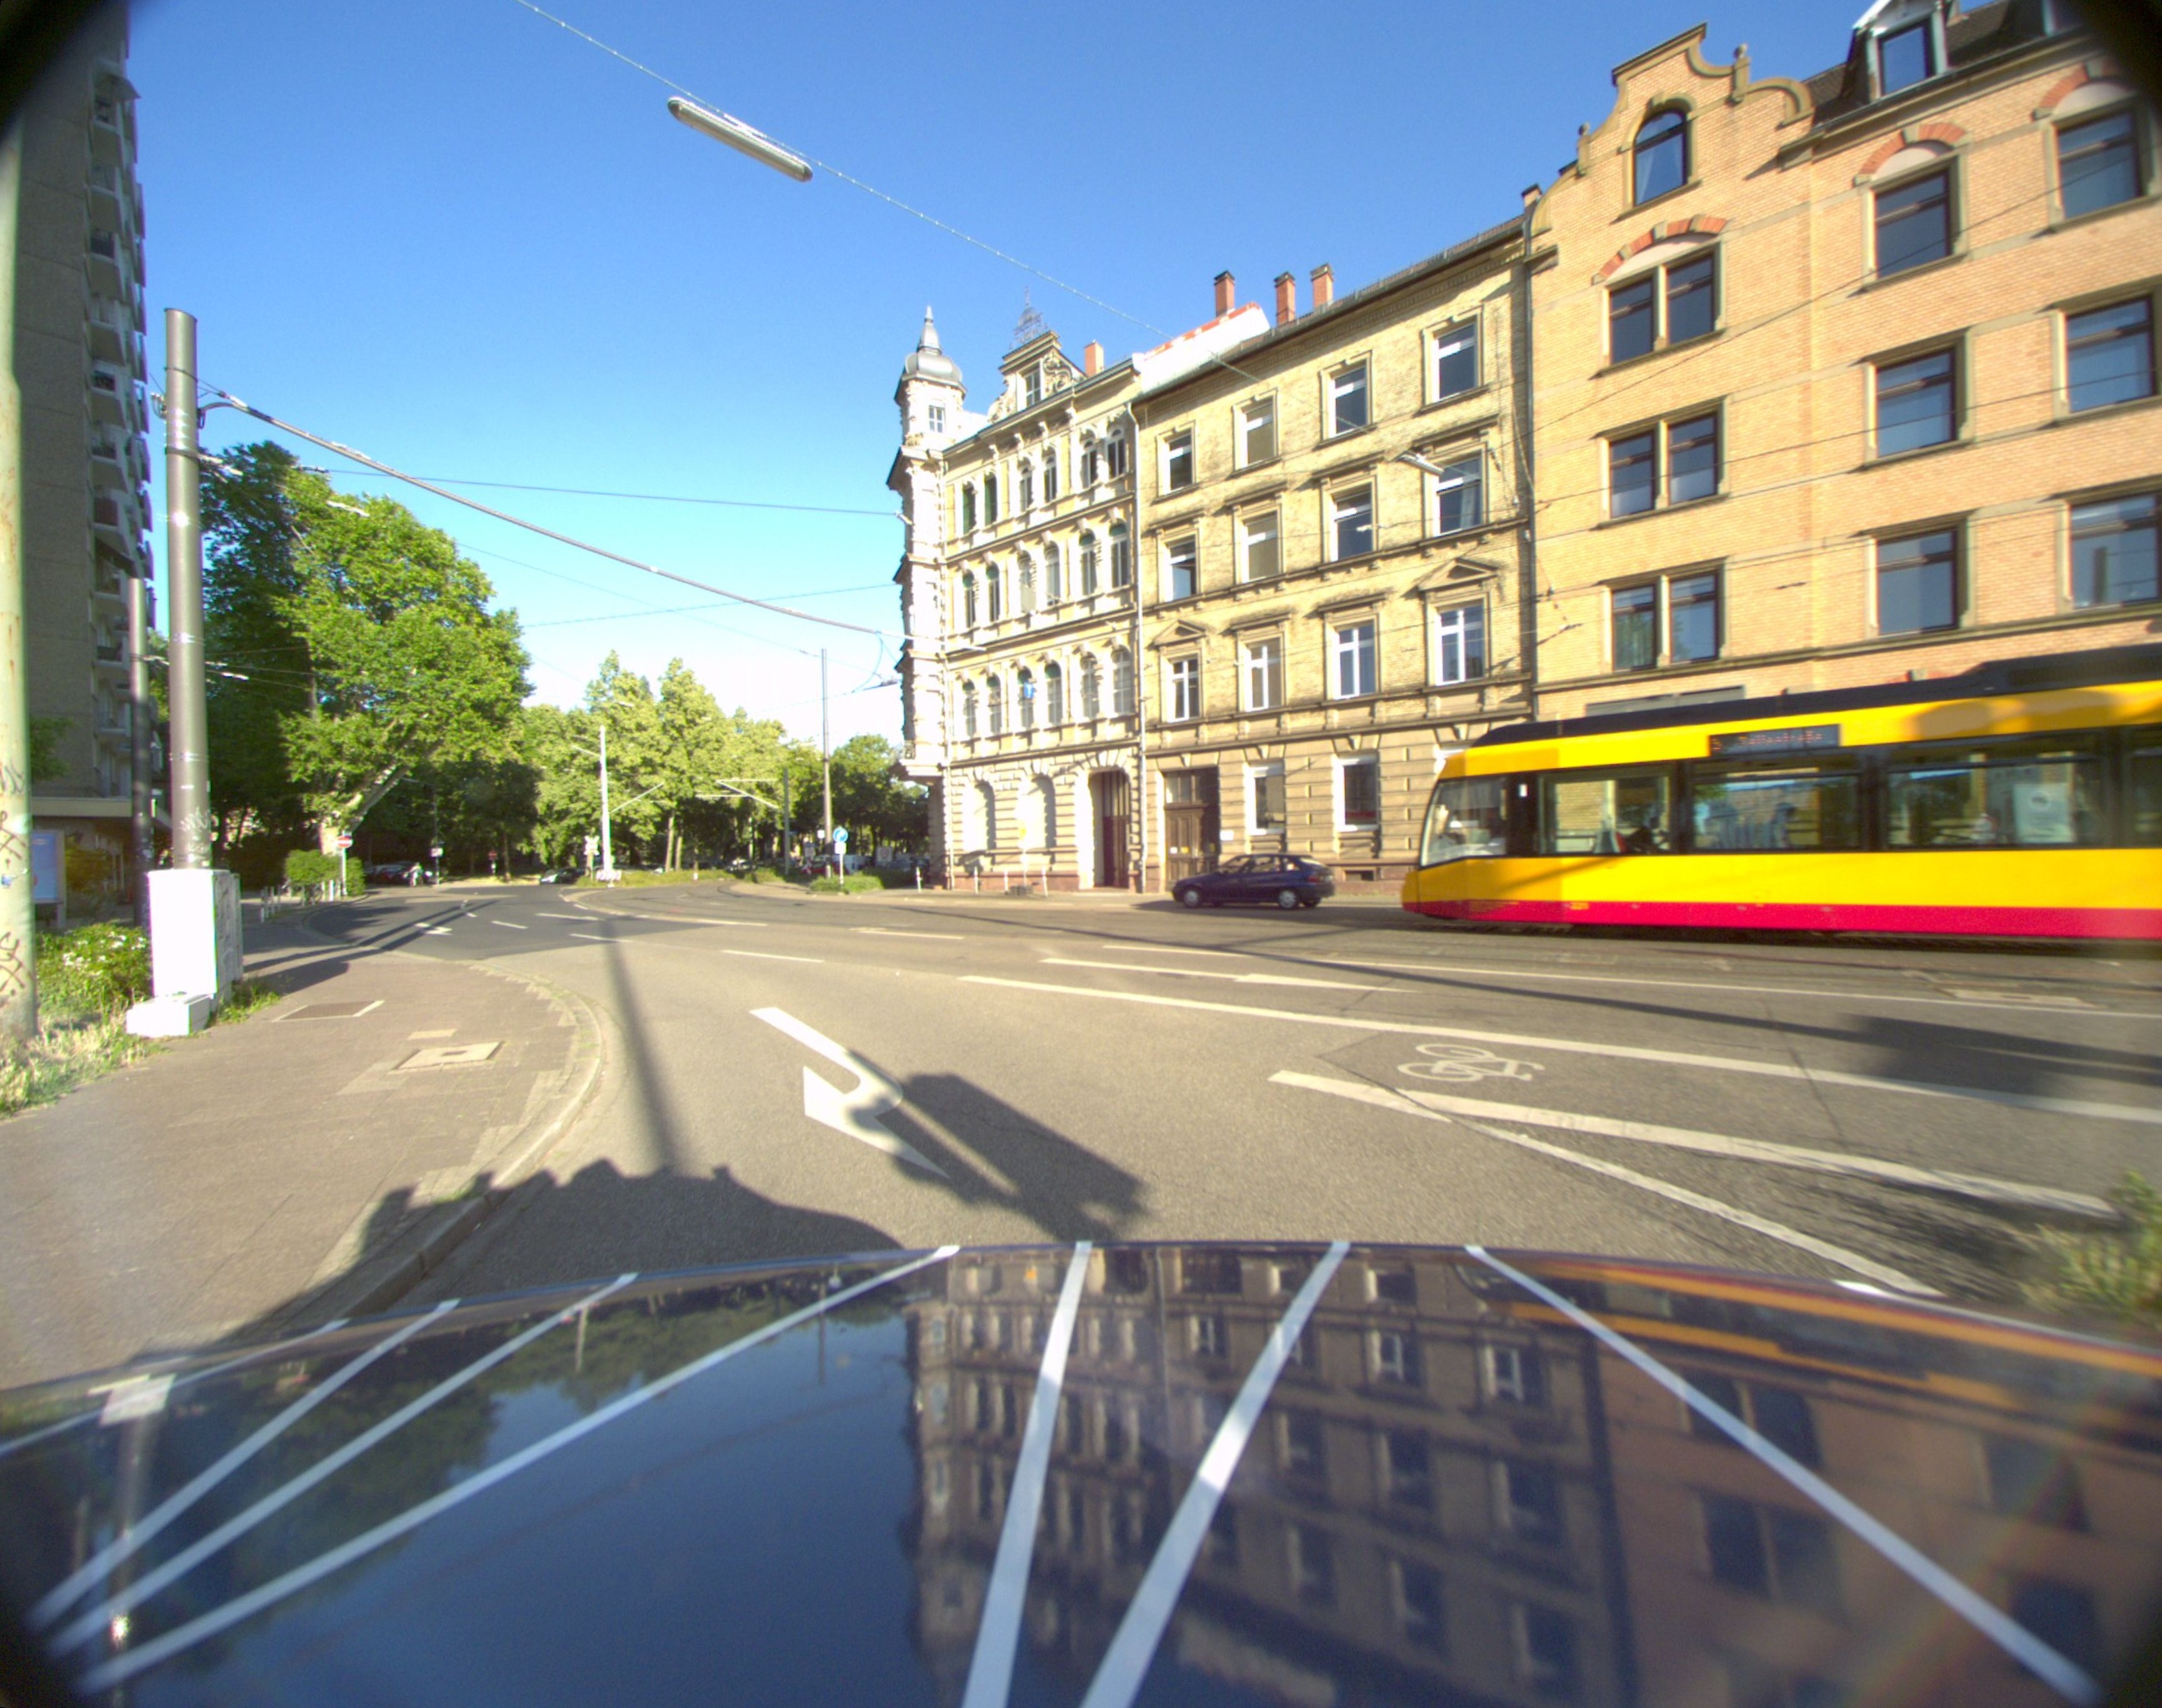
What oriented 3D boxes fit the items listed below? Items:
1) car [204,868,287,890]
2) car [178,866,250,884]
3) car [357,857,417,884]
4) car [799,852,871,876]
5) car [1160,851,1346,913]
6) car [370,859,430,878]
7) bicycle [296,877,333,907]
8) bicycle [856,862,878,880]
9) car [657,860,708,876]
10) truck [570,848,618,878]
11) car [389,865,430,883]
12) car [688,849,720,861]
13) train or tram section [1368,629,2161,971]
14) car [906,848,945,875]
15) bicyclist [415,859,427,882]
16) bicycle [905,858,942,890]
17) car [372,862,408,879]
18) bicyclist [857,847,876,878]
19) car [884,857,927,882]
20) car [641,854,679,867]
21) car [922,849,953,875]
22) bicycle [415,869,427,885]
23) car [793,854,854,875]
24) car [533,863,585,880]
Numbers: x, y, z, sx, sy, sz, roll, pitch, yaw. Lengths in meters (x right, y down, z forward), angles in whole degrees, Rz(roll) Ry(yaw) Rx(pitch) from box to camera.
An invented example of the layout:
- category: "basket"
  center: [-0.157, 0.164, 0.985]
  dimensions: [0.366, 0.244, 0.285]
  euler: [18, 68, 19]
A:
- category: "car"
  center: [-63.759, 1.862, 58.046]
  dimensions: [1.881, 1.499, 4.008]
  euler: [-1, 0, 33]
- category: "car"
  center: [-77.659, 1.880, 68.099]
  dimensions: [1.881, 1.499, 4.008]
  euler: [-1, 0, 33]
- category: "car"
  center: [-66.926, 1.568, 73.288]
  dimensions: [1.531, 2.392, 3.934]
  euler: [-1, 1, 32]
- category: "car"
  center: [-19.547, 0.789, 60.382]
  dimensions: [5.050, 1.777, 2.002]
  euler: [-1, 0, 12]
- category: "car"
  center: [4.247, 0.666, 19.094]
  dimensions: [4.151, 1.372, 1.818]
  euler: [-1, 0, 38]
- category: "car"
  center: [-64.630, 1.359, 72.160]
  dimensions: [1.531, 1.751, 3.934]
  euler: [-1, 0, 32]
- category: "bicycle"
  center: [-31.564, 1.544, 31.328]
  dimensions: [0.611, 1.128, 2.275]
  euler: [-2, 1, -34]
- category: "bicycle"
  center: [-13.103, 1.030, 46.537]
  dimensions: [0.728, 1.077, 2.117]
  euler: [-2, 0, 1]
- category: "car"
  center: [-35.703, 1.221, 68.102]
  dimensions: [3.683, 1.346, 1.742]
  euler: [-1, 0, 7]
- category: "truck"
  center: [-47.095, 0.836, 73.589]
  dimensions: [2.000, 2.767, 4.880]
  euler: [-1, 0, -9]
- category: "car"
  center: [-57.193, 1.721, 64.705]
  dimensions: [3.621, 1.440, 1.744]
  euler: [-1, 1, 35]
- category: "car"
  center: [-57.570, 0.086, 116.116]
  dimensions: [3.994, 1.740, 1.886]
  euler: [-1, 0, 10]
- category: "train or tram section"
  center: [10.800, -0.546, 9.744]
  dimensions: [12.978, 3.487, 2.876]
  euler: [-1, 0, 37]
- category: "car"
  center: [-10.268, 0.462, 50.374]
  dimensions: [1.737, 1.652, 3.999]
  euler: [-1, 0, 0]
- category: "bicyclist"
  center: [-49.612, 1.228, 57.101]
  dimensions: [0.608, 1.752, 1.058]
  euler: [-2, 1, -39]
- category: "bicycle"
  center: [-6.804, 0.843, 32.996]
  dimensions: [0.644, 1.258, 2.690]
  euler: [-1, 0, 8]
- category: "car"
  center: [-61.790, 1.469, 67.917]
  dimensions: [3.916, 1.440, 1.538]
  euler: [-1, 1, 35]
- category: "bicyclist"
  center: [-13.126, 0.527, 46.572]
  dimensions: [0.729, 1.829, 1.213]
  euler: [-2, 0, 1]
- category: "car"
  center: [-10.518, 0.917, 45.785]
  dimensions: [1.737, 1.406, 3.434]
  euler: [-1, 0, 0]
- category: "car"
  center: [-57.013, 0.879, 102.969]
  dimensions: [4.434, 1.740, 2.002]
  euler: [-1, 0, 17]
- category: "car"
  center: [-11.530, 0.625, 61.254]
  dimensions: [1.999, 2.002, 4.633]
  euler: [-1, 0, -5]
- category: "bicycle"
  center: [-49.626, 1.738, 57.145]
  dimensions: [0.612, 1.168, 1.947]
  euler: [-2, 1, -39]
- category: "car"
  center: [-19.657, 0.813, 58.115]
  dimensions: [3.993, 1.499, 1.870]
  euler: [-1, 0, 12]
- category: "car"
  center: [-46.740, 1.554, 68.083]
  dimensions: [1.950, 1.390, 3.999]
  euler: [-1, 0, -2]
